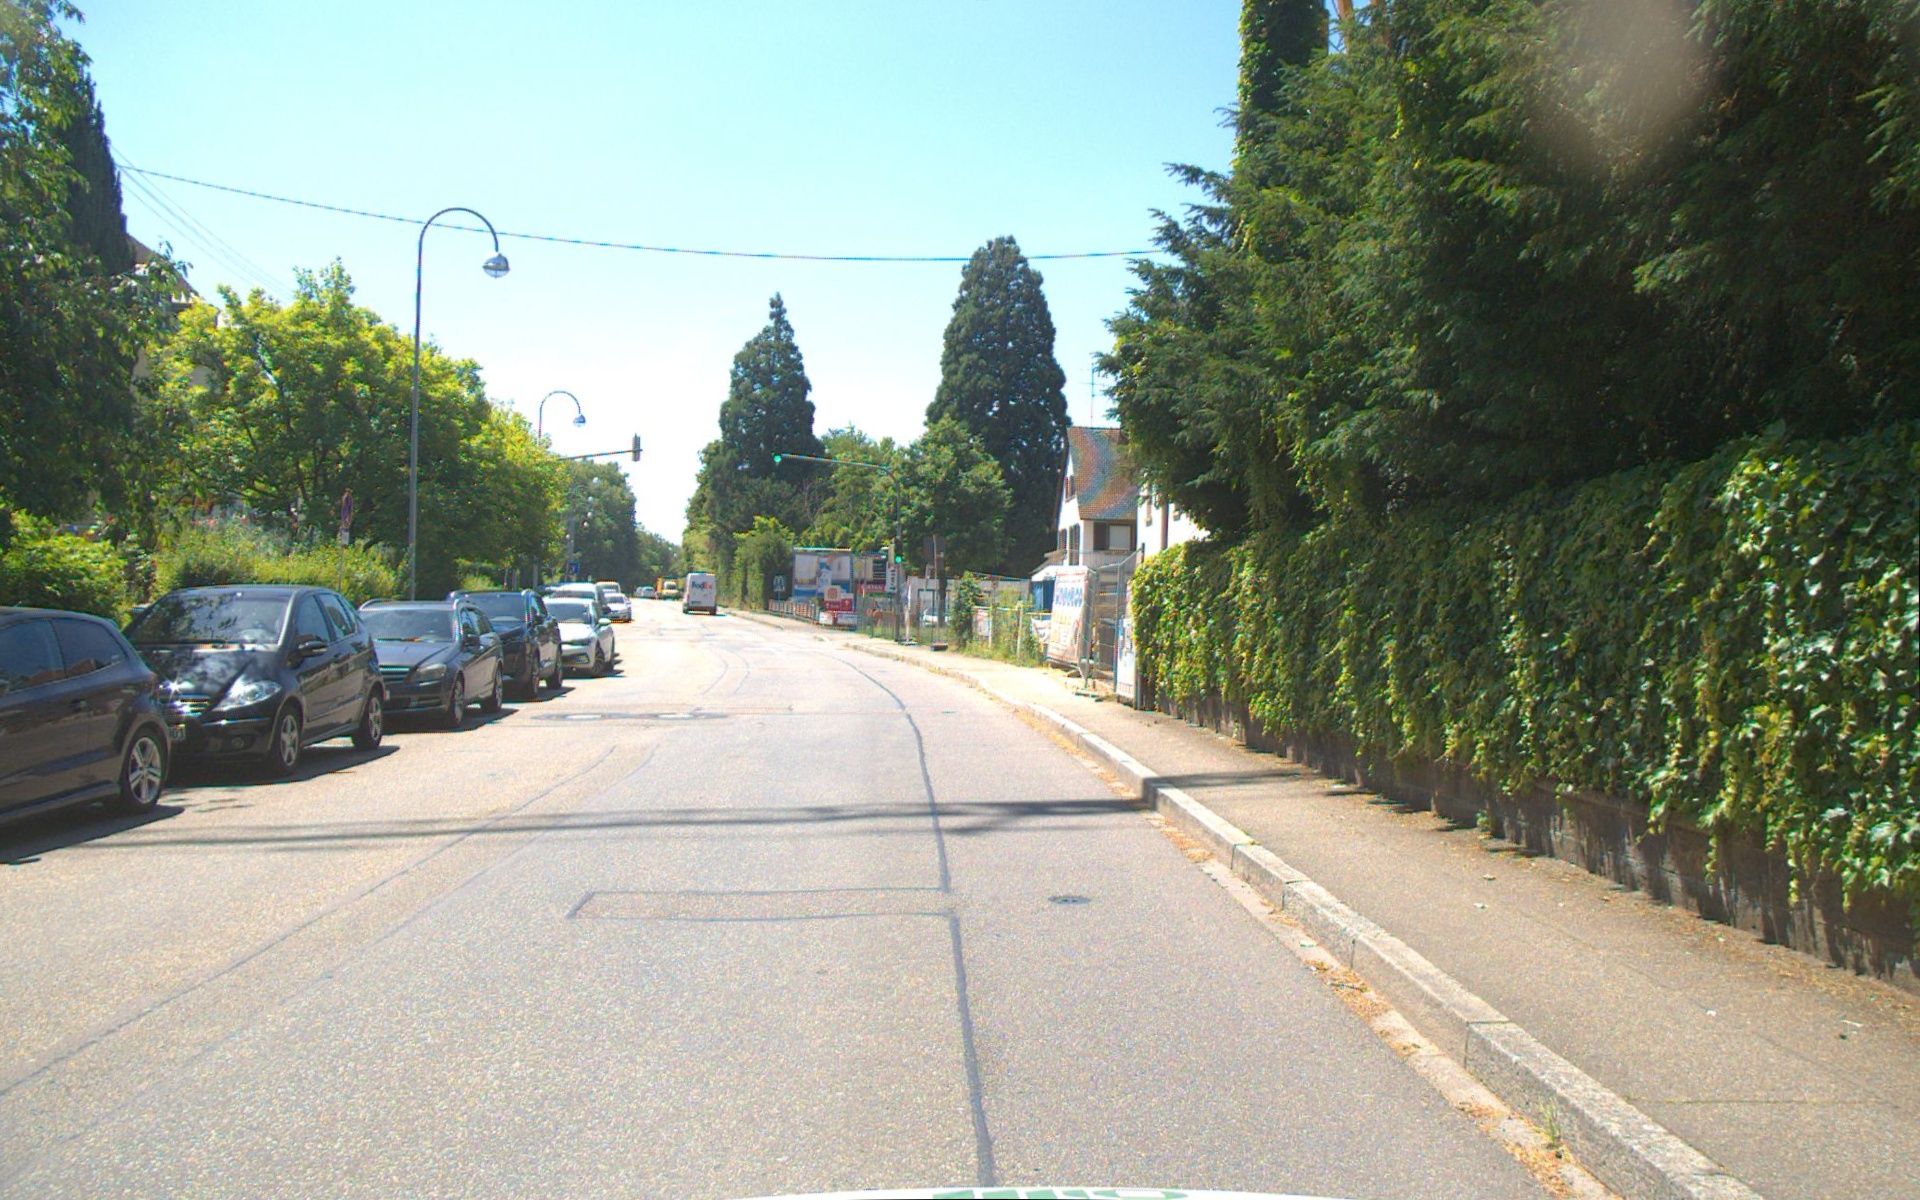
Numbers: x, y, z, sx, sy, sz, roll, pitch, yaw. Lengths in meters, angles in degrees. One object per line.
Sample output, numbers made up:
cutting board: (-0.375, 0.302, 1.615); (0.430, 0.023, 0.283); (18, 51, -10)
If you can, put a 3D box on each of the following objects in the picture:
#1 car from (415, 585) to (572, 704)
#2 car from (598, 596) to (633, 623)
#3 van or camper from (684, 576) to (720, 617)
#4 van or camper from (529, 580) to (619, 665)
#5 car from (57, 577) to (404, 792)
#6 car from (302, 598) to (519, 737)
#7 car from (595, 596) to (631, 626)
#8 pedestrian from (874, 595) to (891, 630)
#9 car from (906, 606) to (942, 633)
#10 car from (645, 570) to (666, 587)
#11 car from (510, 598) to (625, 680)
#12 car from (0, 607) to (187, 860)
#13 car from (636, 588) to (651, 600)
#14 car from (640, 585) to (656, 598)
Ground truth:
car: (-7.132, 0.628, 25.662); (1.649, 1.666, 4.324); (0, 0, -6)
car: (-18.825, 0.503, 90.348); (1.764, 1.426, 4.204); (0, 0, -14)
van or camper: (-16.691, -0.224, 106.804); (2.222, 2.572, 4.747); (0, 0, -11)
van or camper: (-8.829, 0.491, 38.077); (1.650, 1.835, 3.978); (0, 0, -8)
car: (-6.354, 0.663, 14.877); (1.648, 1.668, 3.787); (0, 0, -4)
car: (-6.603, 0.741, 20.320); (1.649, 1.501, 4.324); (0, 0, -6)
car: (-17.941, 0.551, 85.403); (1.729, 1.473, 3.910); (0, 0, -14)
pedestrian: (-3.725, 0.599, 79.255); (0.683, 1.628, 0.571); (3, -1, -12)
car: (-1.816, 0.992, 84.887); (1.676, 1.292, 3.385); (2, 0, 1)
car: (-32.873, -2.299, 178.460); (1.959, 1.691, 3.986); (1, 0, -13)
car: (-7.559, 0.704, 32.185); (1.649, 1.466, 4.241); (0, 0, -6)
car: (-6.289, 0.768, 9.844); (1.647, 1.425, 3.789); (0, 0, -1)
car: (-46.377, -0.913, 242.032); (1.959, 1.691, 3.986); (1, 0, -13)
car: (-42.842, -1.203, 227.218); (1.959, 1.691, 3.986); (1, 0, -13)
